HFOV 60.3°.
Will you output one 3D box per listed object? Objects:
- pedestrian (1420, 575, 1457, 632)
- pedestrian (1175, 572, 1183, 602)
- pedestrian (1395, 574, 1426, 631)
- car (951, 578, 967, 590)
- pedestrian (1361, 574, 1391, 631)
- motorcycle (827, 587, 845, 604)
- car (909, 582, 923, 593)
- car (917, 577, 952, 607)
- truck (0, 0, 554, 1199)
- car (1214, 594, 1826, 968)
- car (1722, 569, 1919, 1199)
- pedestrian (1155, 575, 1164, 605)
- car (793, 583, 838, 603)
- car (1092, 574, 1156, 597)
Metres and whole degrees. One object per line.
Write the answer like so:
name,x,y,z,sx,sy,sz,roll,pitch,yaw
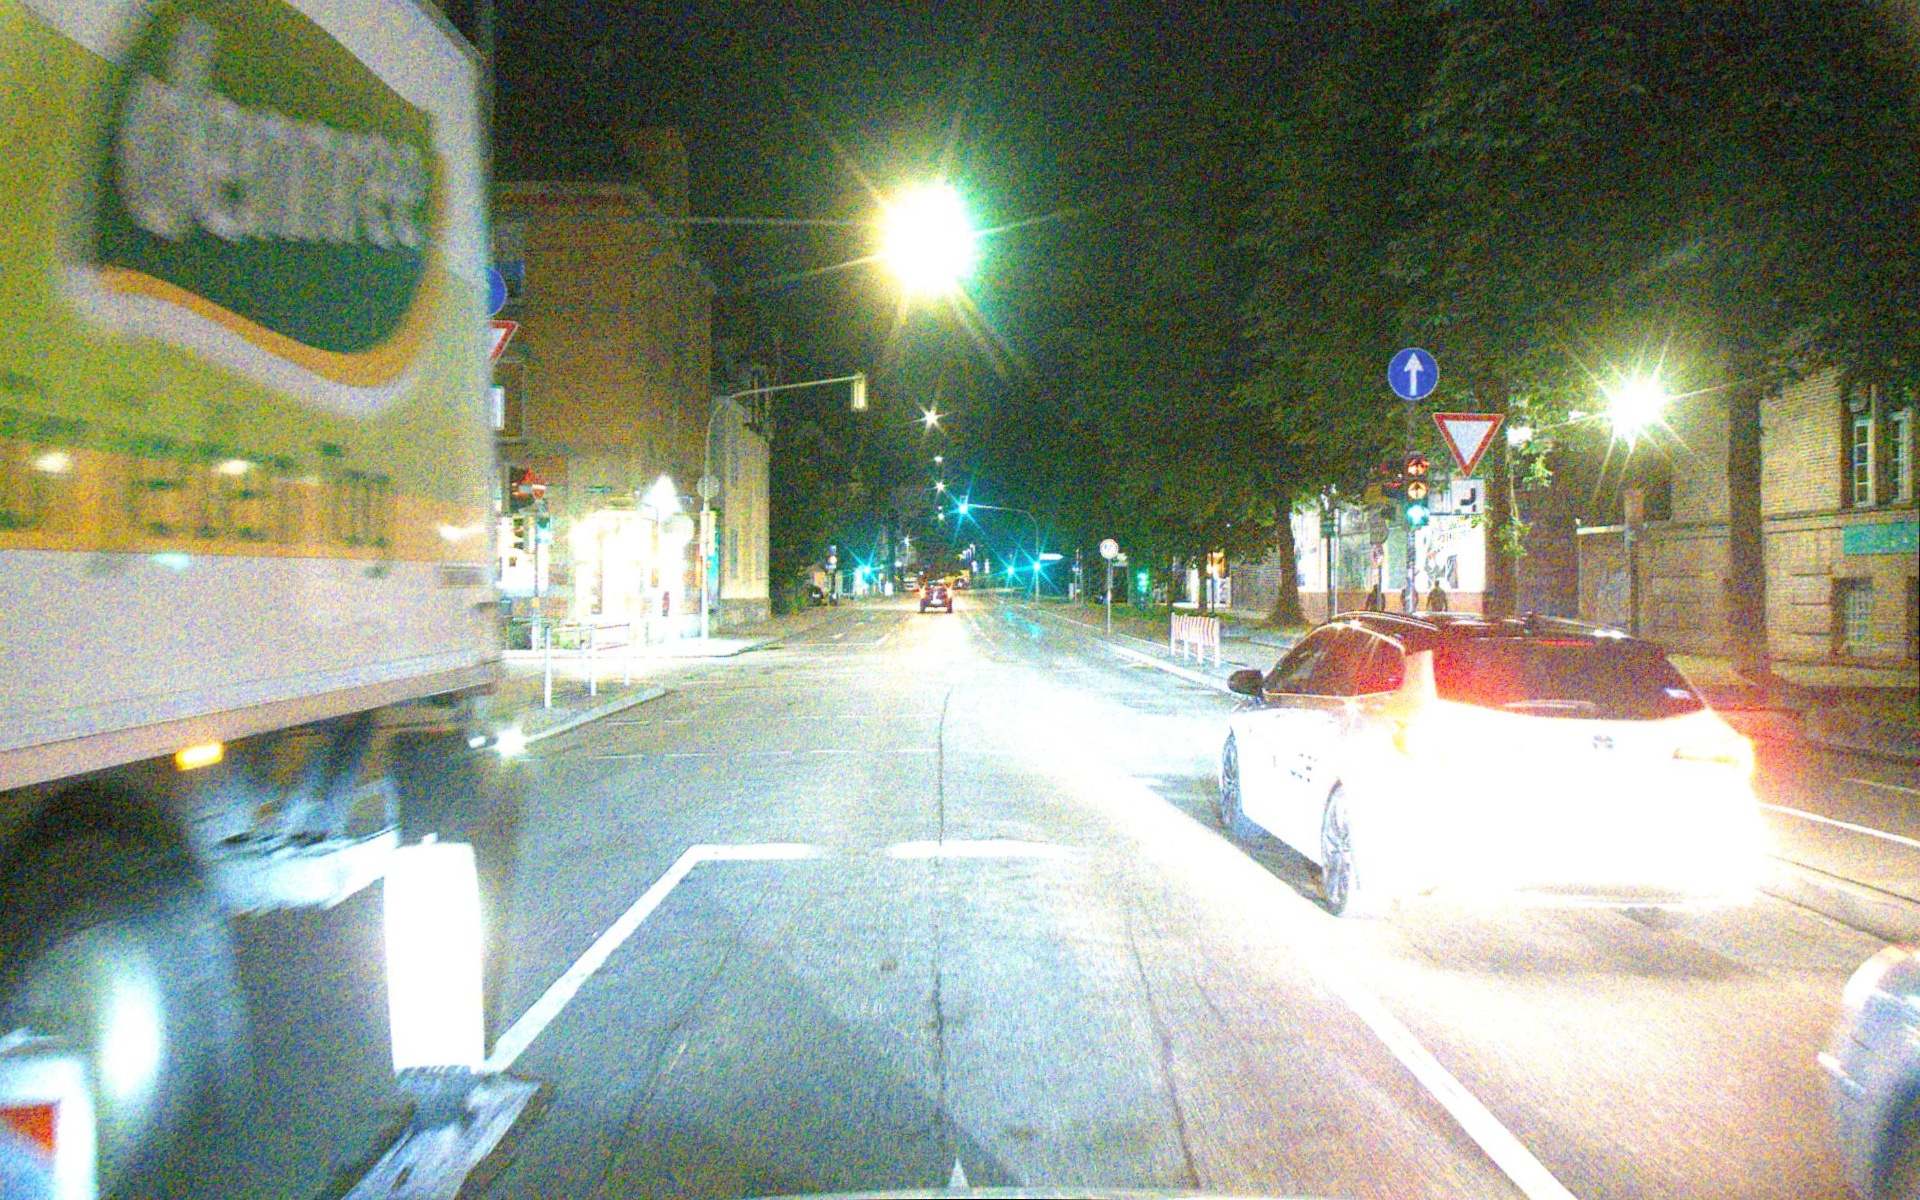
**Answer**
pedestrian,15.377,0.094,53.167,0.882,1.800,0.907,-1,0,-1
pedestrian,14.874,-0.905,112.292,0.478,2.049,0.550,0,0,-2
pedestrian,14.346,0.067,52.692,0.723,1.800,0.907,-1,0,-1
car,-0.182,-2.181,231.609,1.954,1.624,3.998,0,0,-3
pedestrian,13.322,0.084,52.940,0.699,1.800,0.907,-1,0,-1
motorcycle,-9.252,-0.353,123.324,0.769,1.225,2.436,-1,1,-19
car,-5.794,-1.639,216.743,1.742,1.414,3.998,-1,1,-3
car,-1.524,-0.477,96.968,1.953,1.668,3.998,0,0,-2
truck,-3.012,-0.507,1.662,2.699,3.783,10.112,-1,0,0
car,2.607,0.733,8.832,1.694,1.460,4.209,2,0,-2
car,2.700,0.731,2.028,1.604,1.520,3.999,2,0,-1
pedestrian,13.558,-0.661,112.232,0.521,2.049,0.670,0,0,-2
car,-11.052,-0.516,126.189,1.786,1.512,3.956,-1,1,-32
car,10.346,-0.923,104.560,3.904,1.410,1.772,-1,1,2
